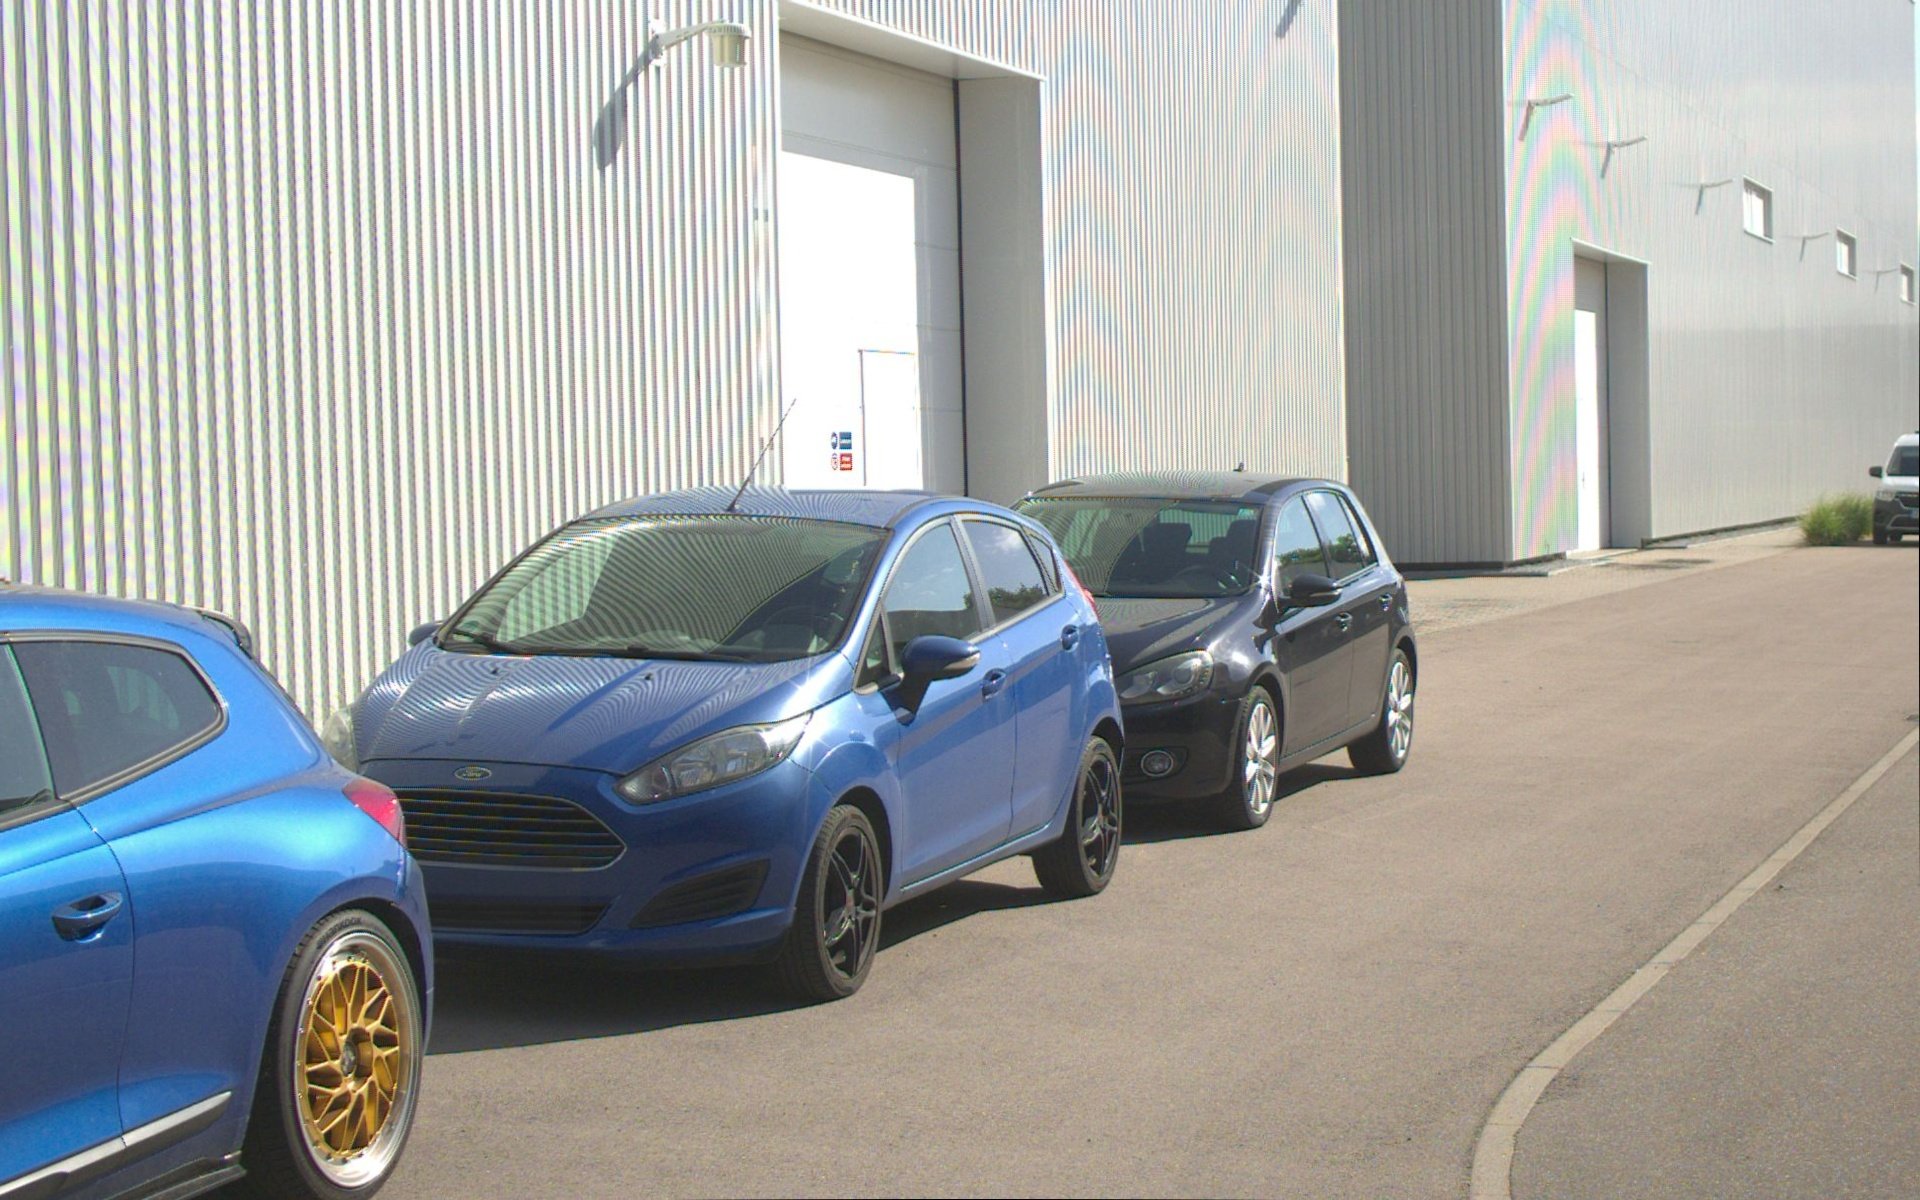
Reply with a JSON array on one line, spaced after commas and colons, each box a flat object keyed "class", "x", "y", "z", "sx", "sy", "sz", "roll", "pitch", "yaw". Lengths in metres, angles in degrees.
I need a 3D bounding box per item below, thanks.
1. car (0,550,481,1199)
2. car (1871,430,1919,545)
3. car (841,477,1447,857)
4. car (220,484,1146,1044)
[{"class": "car", "x": -2.497, "y": 0.649, "z": 5.957, "sx": 1.670, "sy": 1.345, "sz": 3.950, "roll": 1, "pitch": 3, "yaw": 19}, {"class": "car", "x": 15.935, "y": -1.858, "z": 55.879, "sx": 1.909, "sy": 1.787, "sz": 3.997, "roll": -1, "pitch": 2, "yaw": 19}, {"class": "car", "x": 0.976, "y": 0.193, "z": 15.783, "sx": 1.652, "sy": 1.441, "sz": 3.874, "roll": 3, "pitch": 3, "yaw": 20}, {"class": "car", "x": -0.691, "y": 0.370, "z": 11.161, "sx": 1.621, "sy": 1.442, "sz": 3.761, "roll": 0, "pitch": 3, "yaw": 19}]
